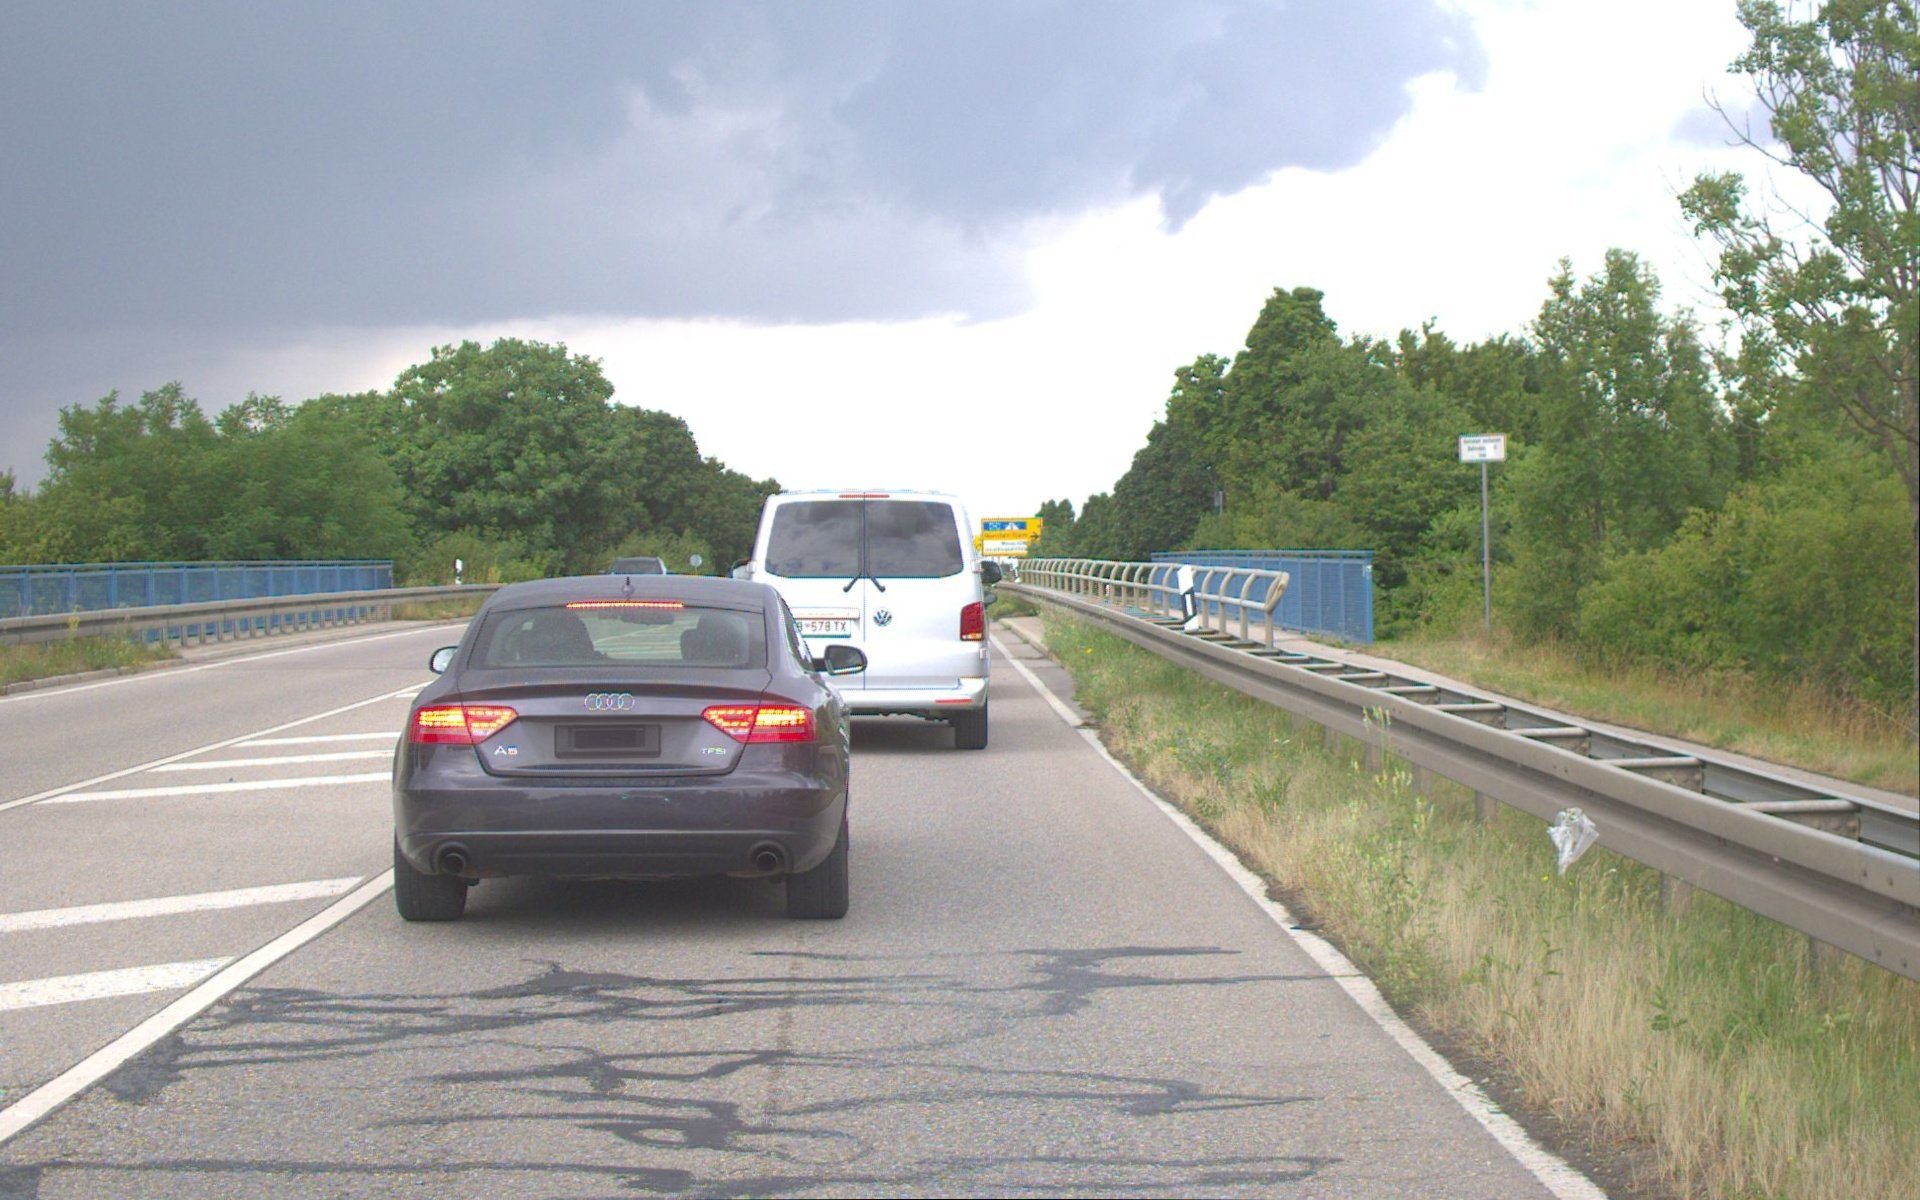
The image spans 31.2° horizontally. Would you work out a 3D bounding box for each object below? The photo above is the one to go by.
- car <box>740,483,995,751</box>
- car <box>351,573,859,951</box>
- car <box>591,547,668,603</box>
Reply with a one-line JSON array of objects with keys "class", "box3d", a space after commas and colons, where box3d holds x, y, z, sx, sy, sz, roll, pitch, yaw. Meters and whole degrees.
[{"class": "car", "box3d": [-0.701, 0.099, 26.967, 1.828, 1.929, 4.000, -1, 1, -1]}, {"class": "car", "box3d": [-1.386, 0.591, 14.902, 1.821, 1.376, 4.072, -1, 1, -1]}, {"class": "car", "box3d": [-8.904, -0.690, 92.881, 1.799, 1.445, 4.446, -1, 1, -2]}]
